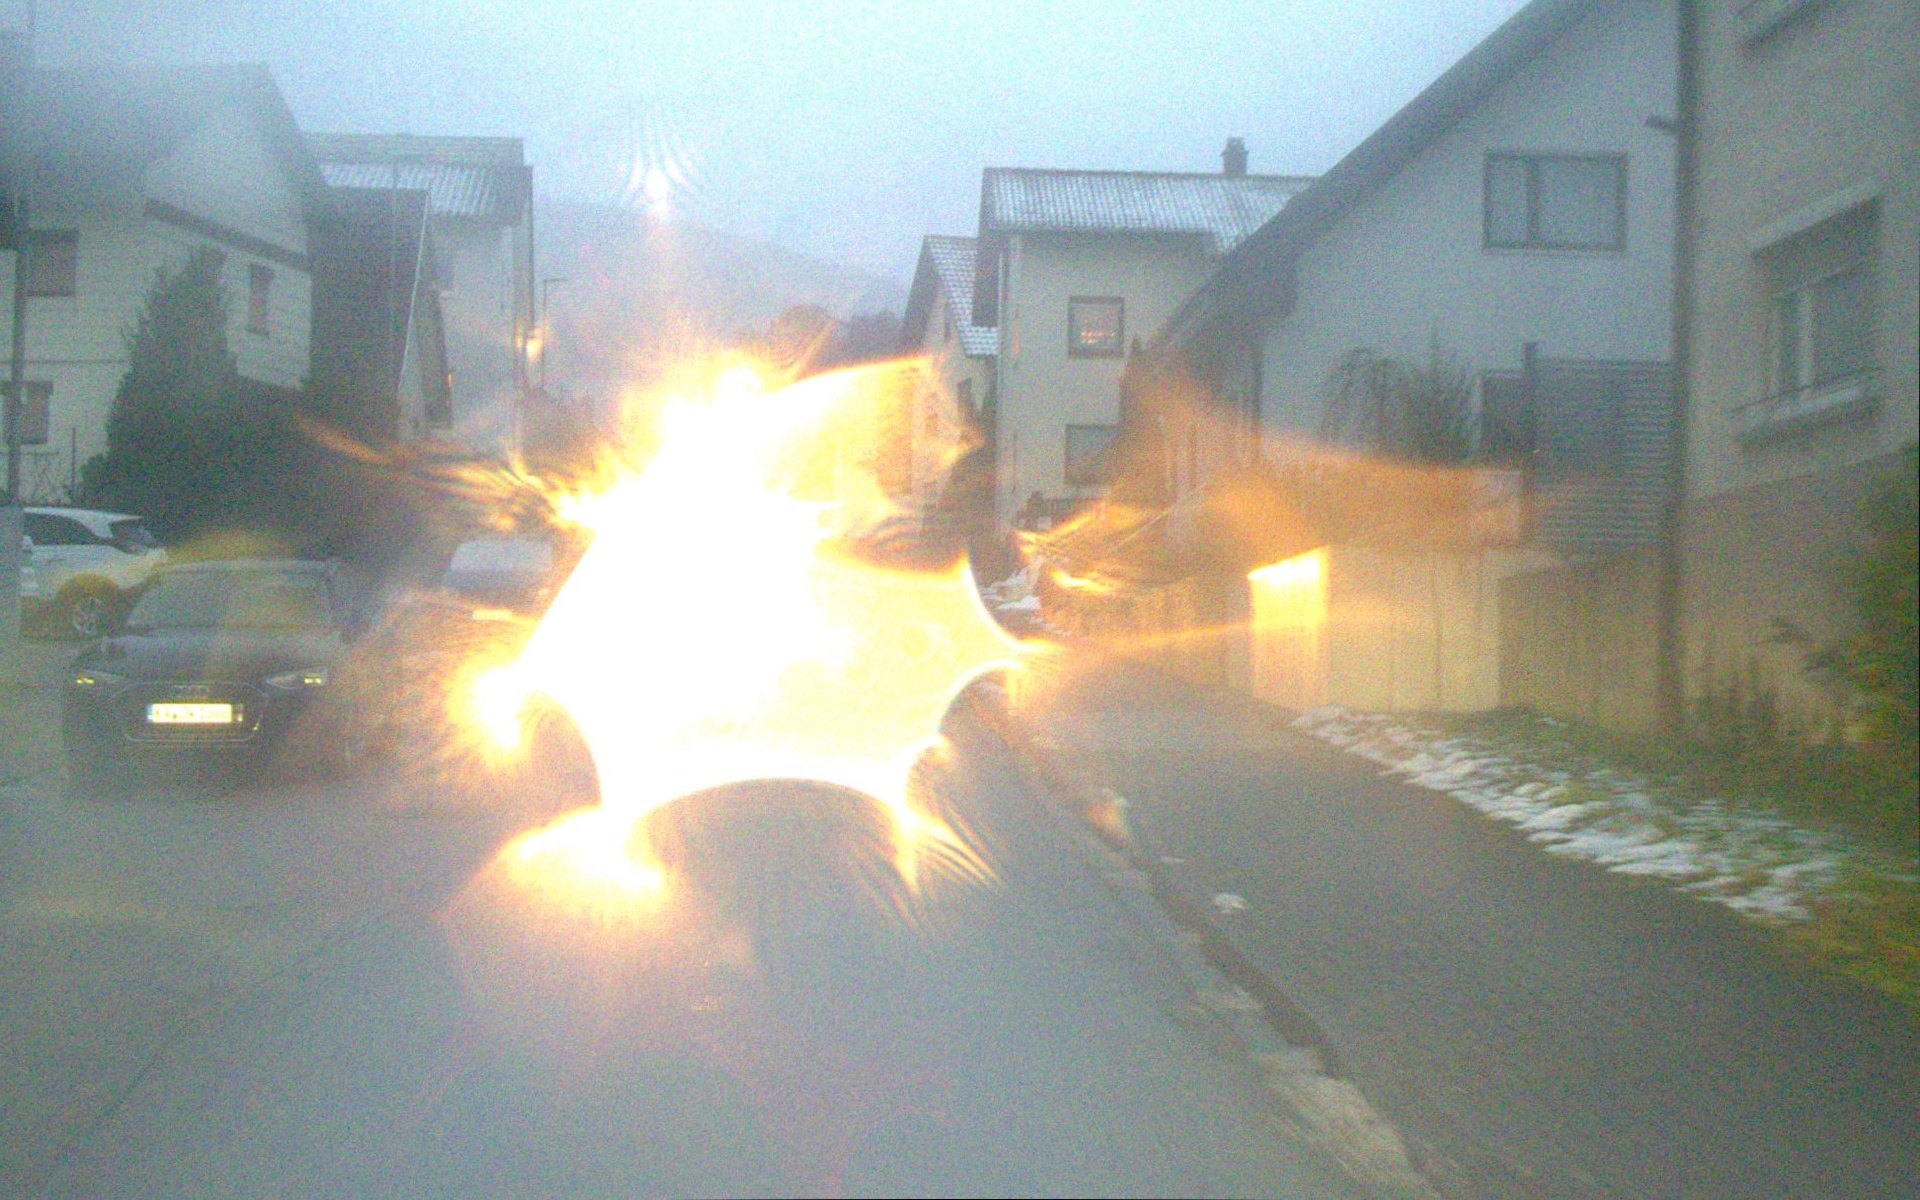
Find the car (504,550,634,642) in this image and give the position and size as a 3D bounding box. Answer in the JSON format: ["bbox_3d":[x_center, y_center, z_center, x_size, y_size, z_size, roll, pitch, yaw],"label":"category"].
[{"bbox_3d":[-6.641,-0.098,58.733,1.794,1.498,4.310,-1,1,-1],"label":"car"}]

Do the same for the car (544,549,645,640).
[{"bbox_3d":[-7.654,-0.144,72.290,1.825,1.829,4.345,-1,1,-3],"label":"car"}]

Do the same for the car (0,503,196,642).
[{"bbox_3d":[-11.556,-0.365,41.948,3.987,1.612,1.888,2,0,2],"label":"car"}]

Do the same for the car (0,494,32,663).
[{"bbox_3d":[-11.895,-0.271,35.563,3.987,1.740,2.000,2,0,2],"label":"car"}]

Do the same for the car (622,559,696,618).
[{"bbox_3d":[-9.113,-0.321,104.364,1.993,1.644,4.000,2,-1,-2],"label":"car"}]

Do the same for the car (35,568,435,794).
[{"bbox_3d":[-4.844,0.497,23.684,1.877,1.390,5.075,0,0,-2],"label":"car"}]

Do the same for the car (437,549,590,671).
[{"bbox_3d":[-5.992,0.132,46.486,1.683,1.579,4.176,0,0,-2],"label":"car"}]
